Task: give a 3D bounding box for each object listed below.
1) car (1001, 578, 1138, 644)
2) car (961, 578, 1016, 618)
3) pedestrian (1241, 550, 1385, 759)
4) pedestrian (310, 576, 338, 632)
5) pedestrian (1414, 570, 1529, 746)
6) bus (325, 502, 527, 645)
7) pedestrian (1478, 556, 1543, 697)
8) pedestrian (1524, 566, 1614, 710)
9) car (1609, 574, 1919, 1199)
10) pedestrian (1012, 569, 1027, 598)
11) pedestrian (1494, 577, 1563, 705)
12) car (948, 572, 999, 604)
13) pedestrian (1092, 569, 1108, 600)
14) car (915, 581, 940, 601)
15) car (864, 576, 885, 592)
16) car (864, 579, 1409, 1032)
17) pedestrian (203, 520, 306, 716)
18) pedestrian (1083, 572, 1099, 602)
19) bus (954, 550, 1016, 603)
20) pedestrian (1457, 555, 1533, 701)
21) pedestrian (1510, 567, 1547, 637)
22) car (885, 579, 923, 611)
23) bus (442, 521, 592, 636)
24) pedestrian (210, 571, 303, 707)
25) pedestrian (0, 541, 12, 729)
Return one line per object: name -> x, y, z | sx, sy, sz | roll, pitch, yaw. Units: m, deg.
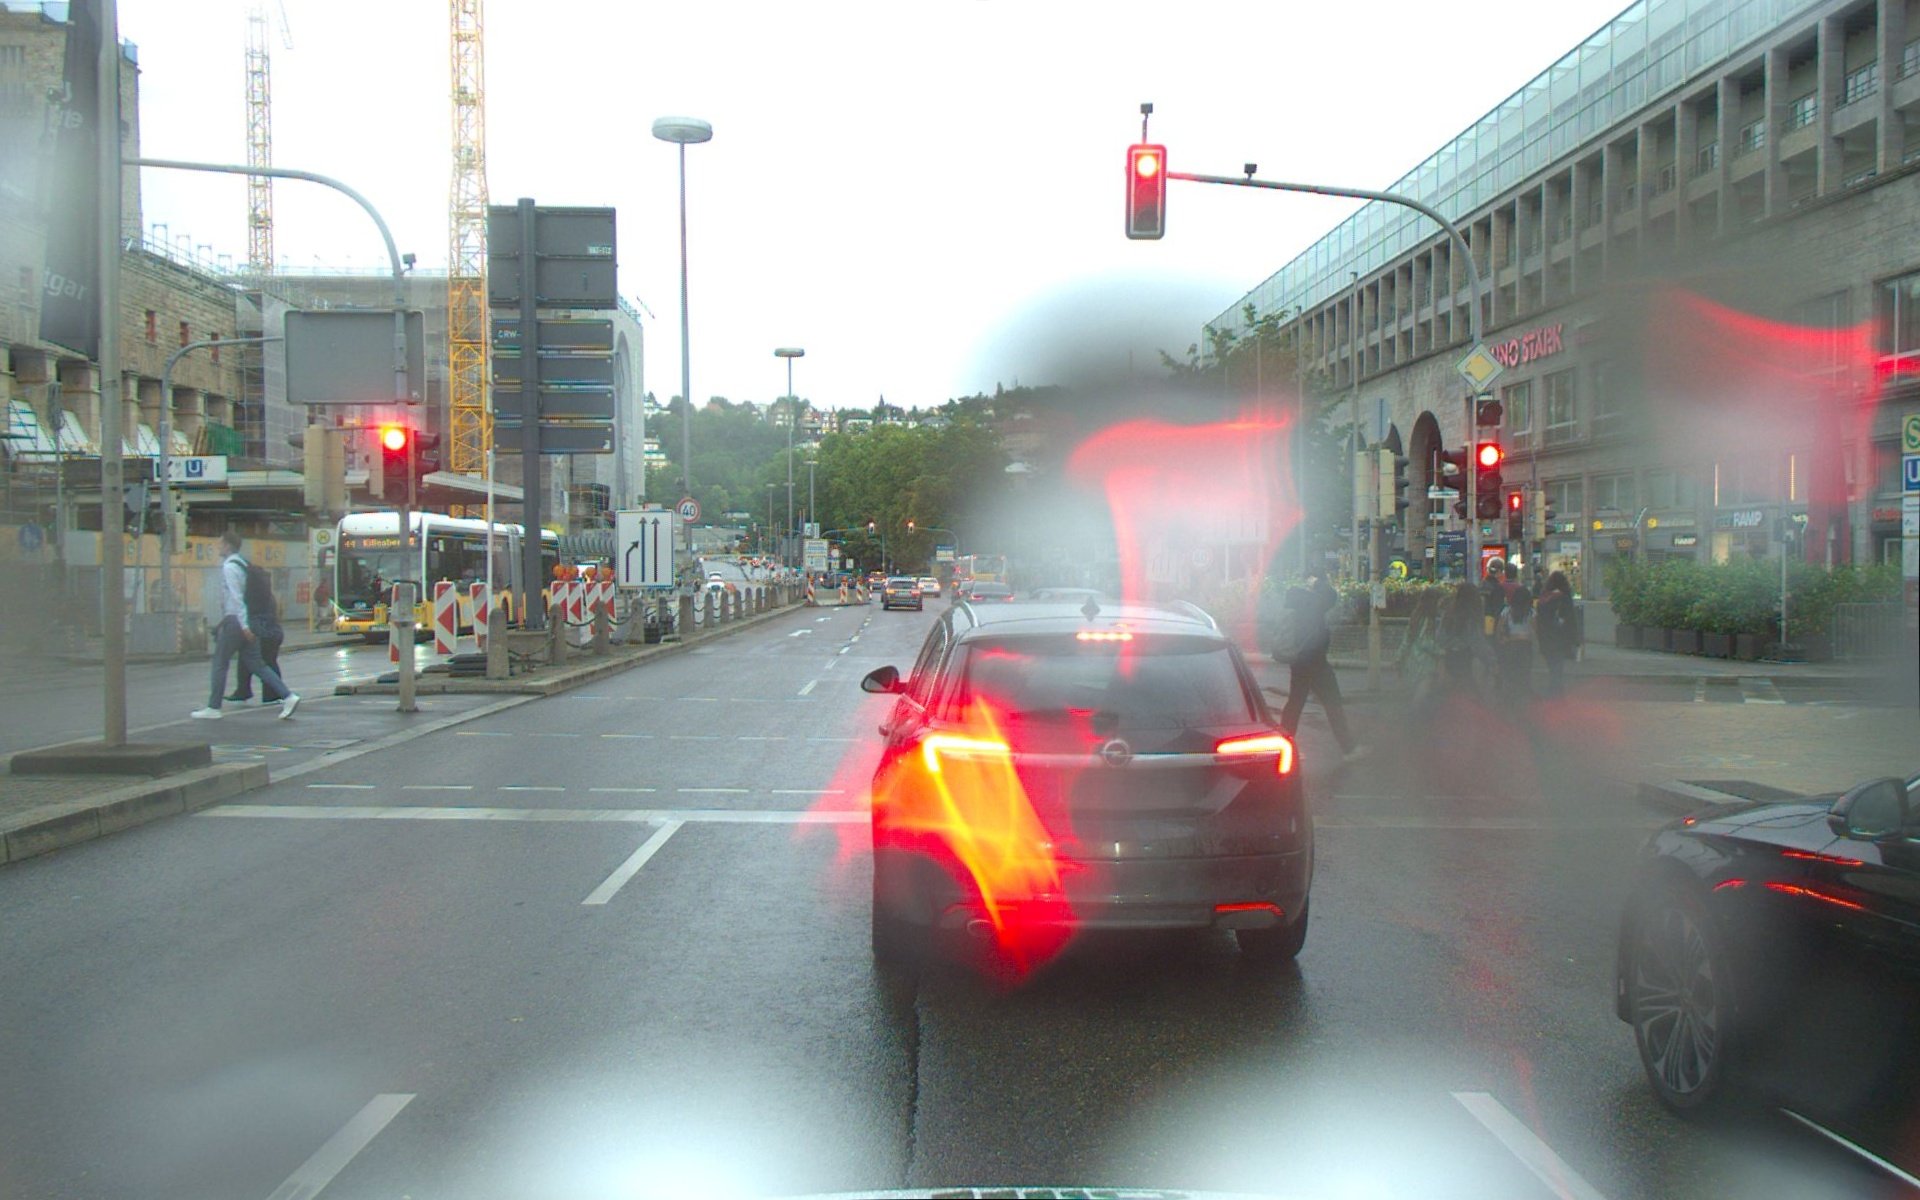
car -> 2.445, 0.235, 37.679 | 1.818, 1.422, 3.646 | 1, 0, -20
car -> 1.031, -0.062, 62.389 | 1.718, 1.422, 4.645 | 1, 0, -3
pedestrian -> 3.133, 0.475, 14.739 | 1.074, 1.782, 0.653 | -2, 0, -4
pedestrian -> -21.784, 0.130, 56.658 | 0.648, 1.887, 0.798 | 0, 0, -1
pedestrian -> 4.976, 0.550, 16.130 | 0.778, 1.654, 0.899 | 1, 0, -4
bus -> -15.215, -0.693, 48.118 | 2.614, 3.665, 10.237 | 1, 0, -1
pedestrian -> 7.096, 0.336, 21.319 | 0.560, 1.783, 0.676 | 1, 0, 42
pedestrian -> 7.076, 0.435, 19.245 | 0.783, 1.636, 0.619 | 1, 0, -5
car -> 3.028, 0.721, 3.048 | 1.757, 1.528, 4.627 | 1, 0, -1
pedestrian -> 5.027, -1.394, 139.651 | 1.174, 2.478, 1.228 | 1, 0, 0
pedestrian -> 6.780, 0.489, 19.728 | 0.665, 1.500, 0.366 | 1, 0, -6
car -> 0.617, -0.562, 79.431 | 1.721, 1.422, 4.392 | 1, 0, -10
pedestrian -> 8.004, -0.891, 94.368 | 0.748, 1.720, 0.824 | 1, 0, -5
car -> -2.419, -0.641, 123.630 | 1.808, 1.422, 3.563 | 1, 0, -1
car -> -7.706, -1.424, 149.788 | 1.723, 1.422, 3.563 | 1, 0, -1
car -> 0.563, 0.705, 7.634 | 1.837, 1.512, 3.999 | 1, 0, -1
pedestrian -> -7.064, 0.180, 16.586 | 0.784, 1.923, 0.619 | 1, 0, -9
pedestrian -> 7.558, -0.770, 95.545 | 0.748, 1.720, 0.824 | 1, 0, -5
bus -> 1.697, -1.591, 120.916 | 4.089, 3.529, 14.651 | 1, 0, -1
pedestrian -> 6.533, 0.338, 20.198 | 0.740, 1.747, 0.466 | 1, 0, -5
pedestrian -> 16.672, 0.061, 48.472 | 0.751, 2.049, 0.820 | 1, 0, 41
car -> -2.643, -0.244, 77.530 | 1.718, 1.422, 4.536 | 1, 0, -2
bus -> -15.373, -0.686, 58.301 | 2.614, 3.665, 10.209 | 1, 0, -1
pedestrian -> -8.456, 0.464, 19.918 | 0.857, 1.588, 0.785 | 1, 0, -12
pedestrian -> -9.793, 0.341, 16.158 | 0.566, 1.868, 0.819 | 1, 0, -1
